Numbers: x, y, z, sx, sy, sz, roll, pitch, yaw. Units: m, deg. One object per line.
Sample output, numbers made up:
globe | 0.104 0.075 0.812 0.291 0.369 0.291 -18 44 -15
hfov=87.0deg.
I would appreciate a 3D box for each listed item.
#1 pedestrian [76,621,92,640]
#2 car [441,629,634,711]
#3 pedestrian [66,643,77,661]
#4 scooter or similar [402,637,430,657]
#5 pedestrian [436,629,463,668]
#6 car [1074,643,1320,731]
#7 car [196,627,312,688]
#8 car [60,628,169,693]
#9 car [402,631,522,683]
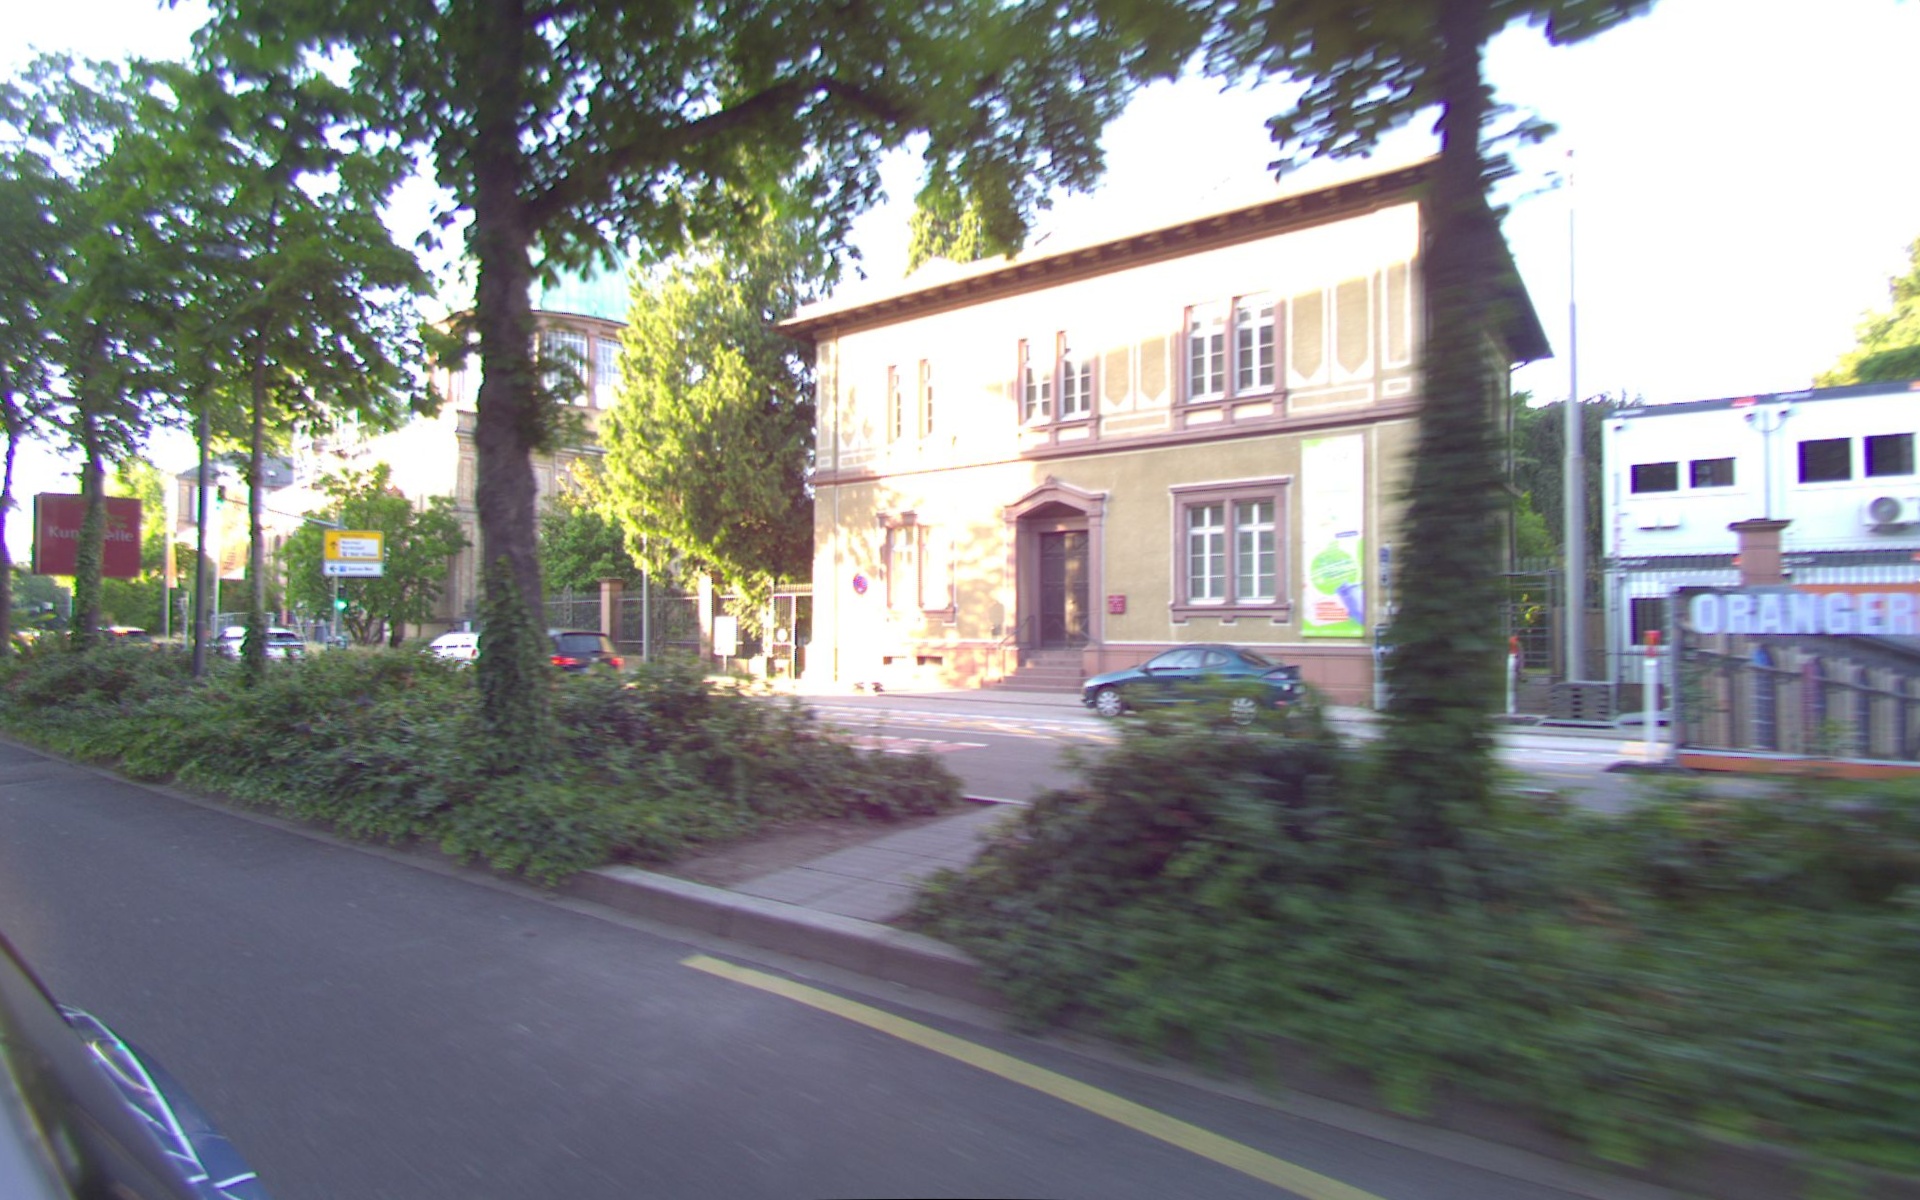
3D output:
pedestrian | -81.104 2.805 93.681 0.795 1.751 0.852 0 -2 -20
car | -8.865 1.415 21.121 4.167 1.563 1.825 -2 -4 37
pedestrian | -81.899 4.803 93.256 0.836 1.524 0.666 -5 -1 44
scooter or similar | -22.188 1.901 41.279 1.027 0.783 0.671 -2 -3 39
pedestrian | -21.217 2.024 42.057 0.762 1.591 0.728 -2 -3 39
car | 4.110 1.454 17.729 3.876 1.361 1.665 -1 -4 34
car | -21.269 1.698 30.428 4.555 1.687 1.823 -2 -4 42
car | -22.105 1.527 26.400 1.824 1.559 4.121 2 -3 -44
car | -16.178 1.792 32.777 4.362 1.559 1.728 -1 -1 37
